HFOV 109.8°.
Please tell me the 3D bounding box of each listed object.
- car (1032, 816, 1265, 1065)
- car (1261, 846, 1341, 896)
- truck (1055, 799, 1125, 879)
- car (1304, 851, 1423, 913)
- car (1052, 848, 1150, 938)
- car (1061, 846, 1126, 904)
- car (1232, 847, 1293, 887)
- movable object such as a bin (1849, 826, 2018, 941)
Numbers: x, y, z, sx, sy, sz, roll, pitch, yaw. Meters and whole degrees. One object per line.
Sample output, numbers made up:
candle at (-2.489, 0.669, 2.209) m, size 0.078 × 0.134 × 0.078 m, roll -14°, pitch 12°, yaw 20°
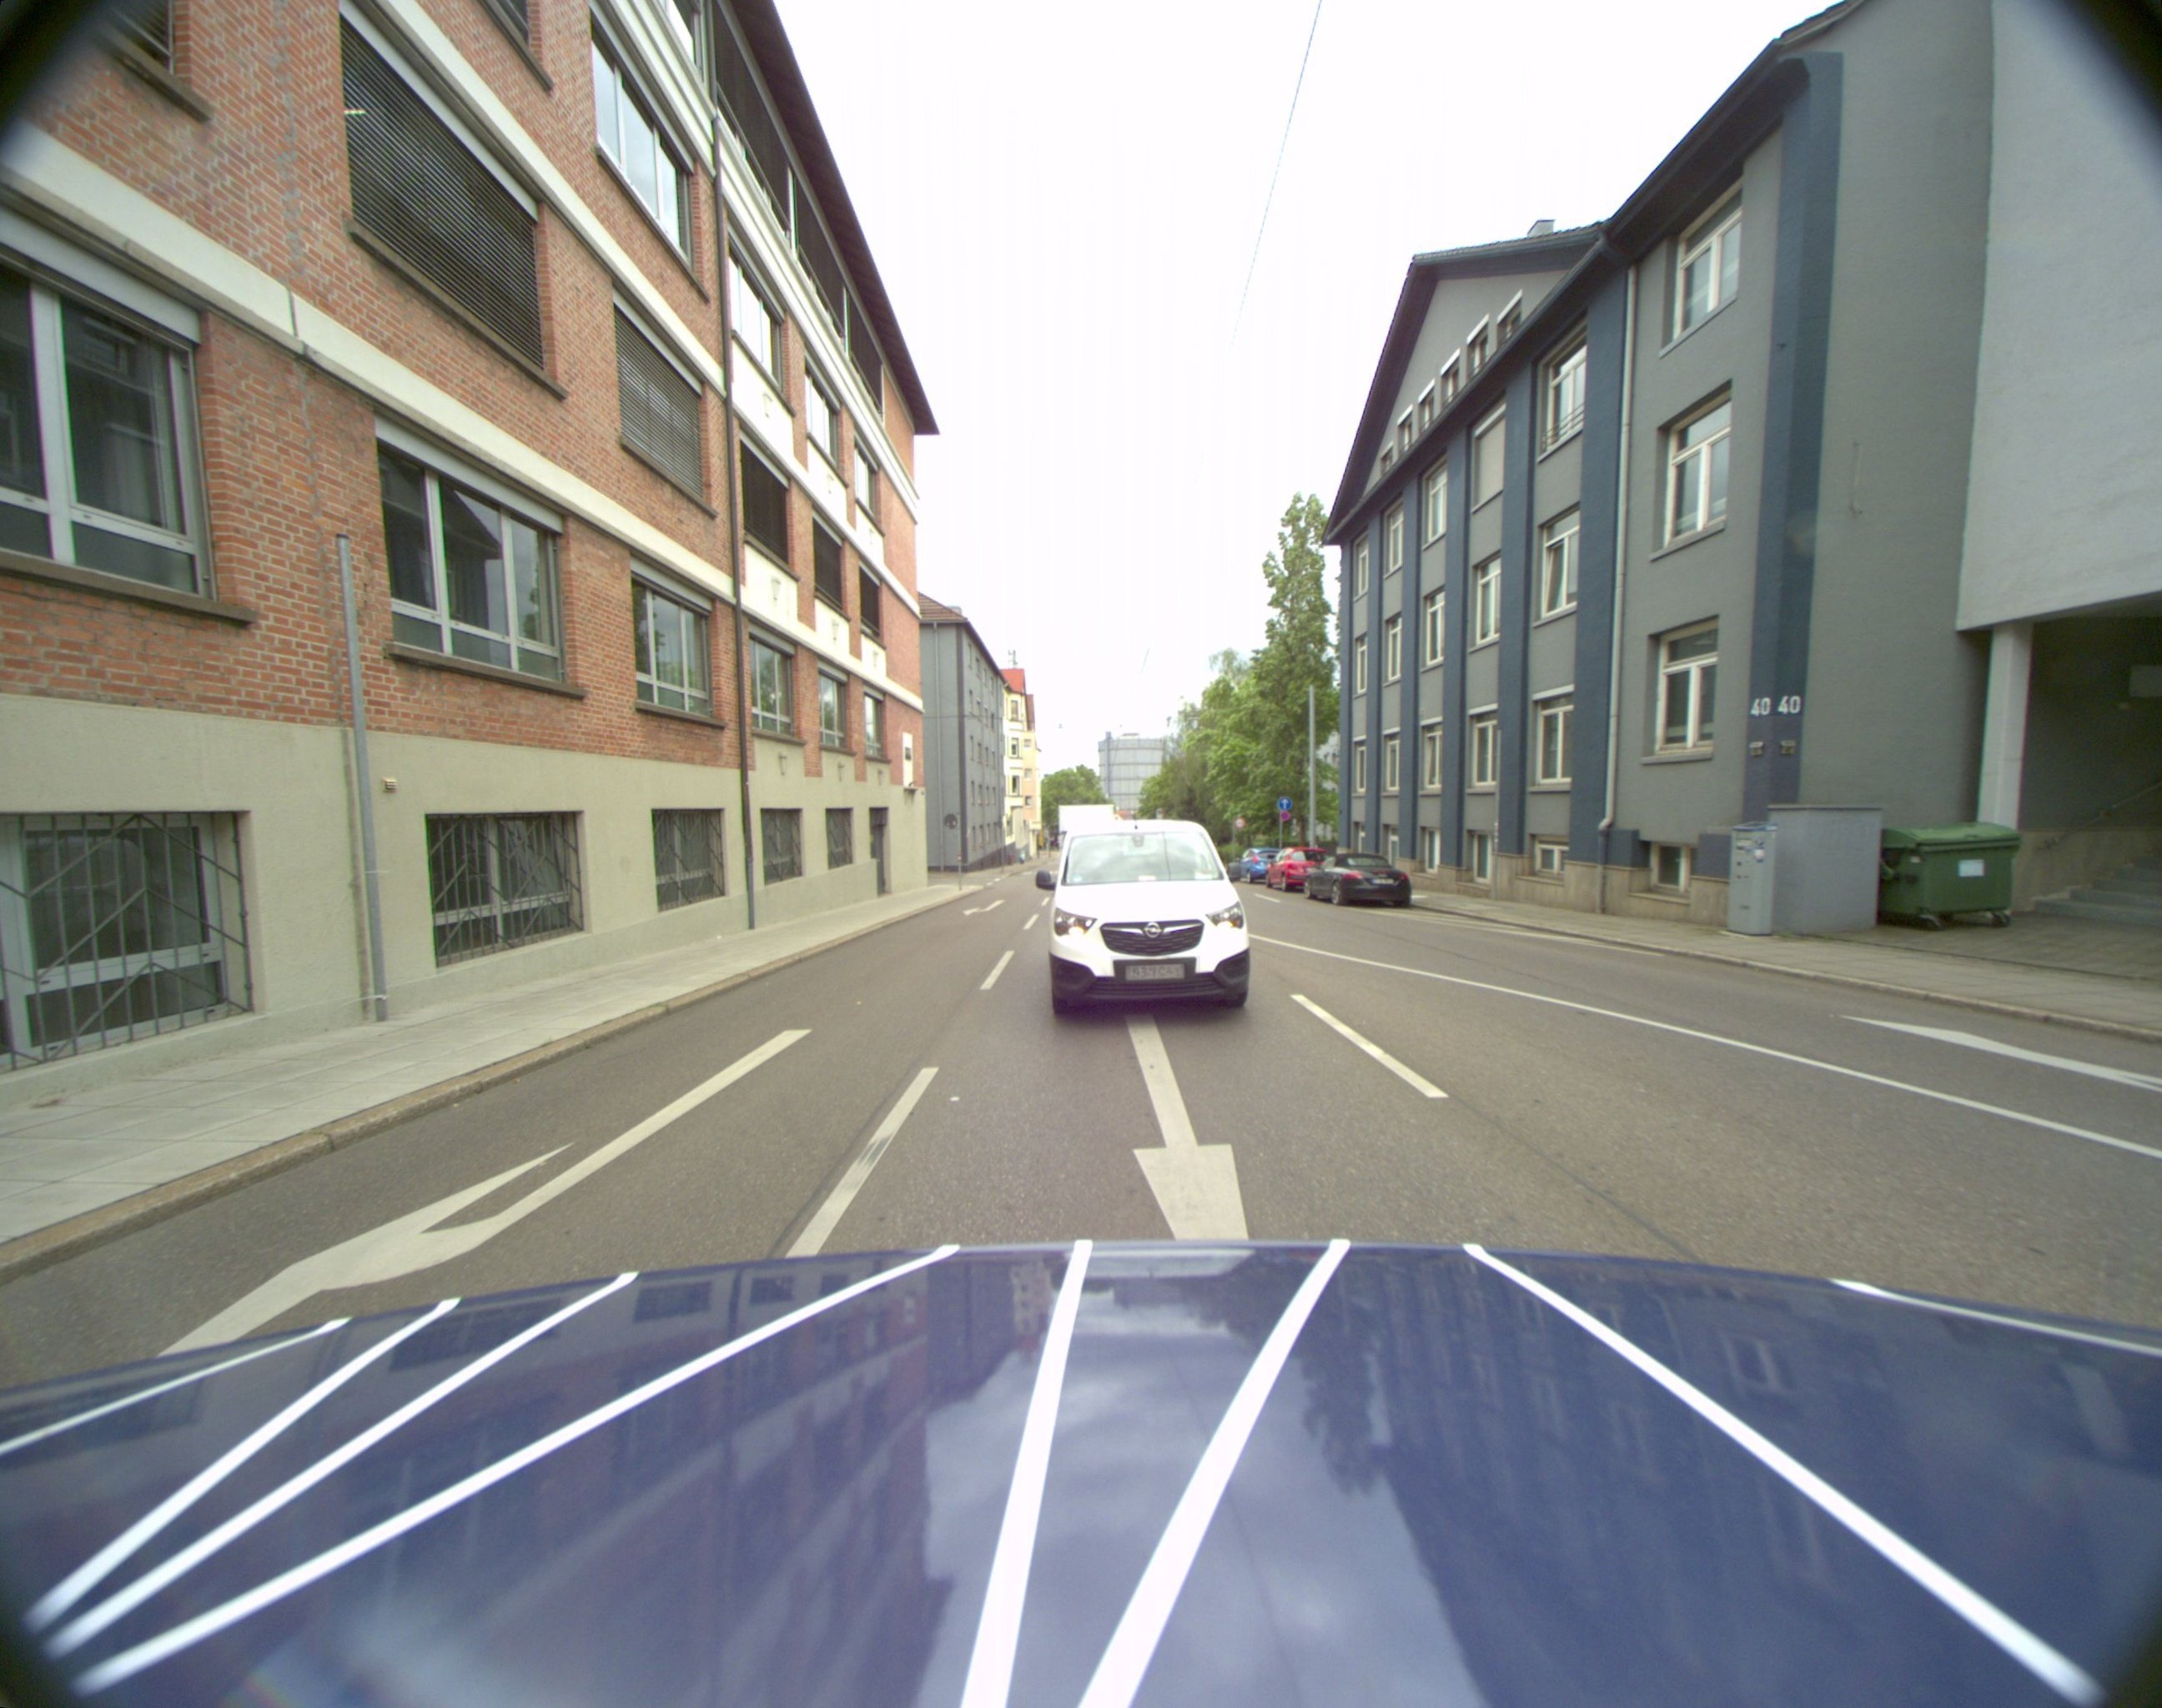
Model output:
car at (0.557, 0.630, 7.908) m, size 1.739 × 1.876 × 3.999 m, roll -2°, pitch 1°, yaw 1°
car at (7.415, 0.520, 25.896) m, size 1.644 × 1.441 × 3.728 m, roll -2°, pitch 1°, yaw 1°
truck at (0.450, -0.753, 37.982) m, size 2.969 × 3.409 × 8.877 m, roll -2°, pitch 1°, yaw 1°
car at (7.286, 0.658, 20.010) m, size 1.801 × 1.385 × 3.728 m, roll -1°, pitch 1°, yaw 1°
car at (0.398, 0.696, 15.932) m, size 1.739 × 1.520 × 3.999 m, roll -2°, pitch 1°, yaw 1°
car at (0.381, 0.568, 23.253) m, size 1.739 × 1.520 × 3.999 m, roll -2°, pitch 1°, yaw 1°
car at (7.451, 0.471, 31.458) m, size 1.644 × 1.441 × 3.728 m, roll -2°, pitch 1°, yaw 1°
movable object such as a bin at (12.041, 0.389, 10.783) m, size 1.229 × 1.498 × 1.039 m, roll -2°, pitch 2°, yaw 1°
